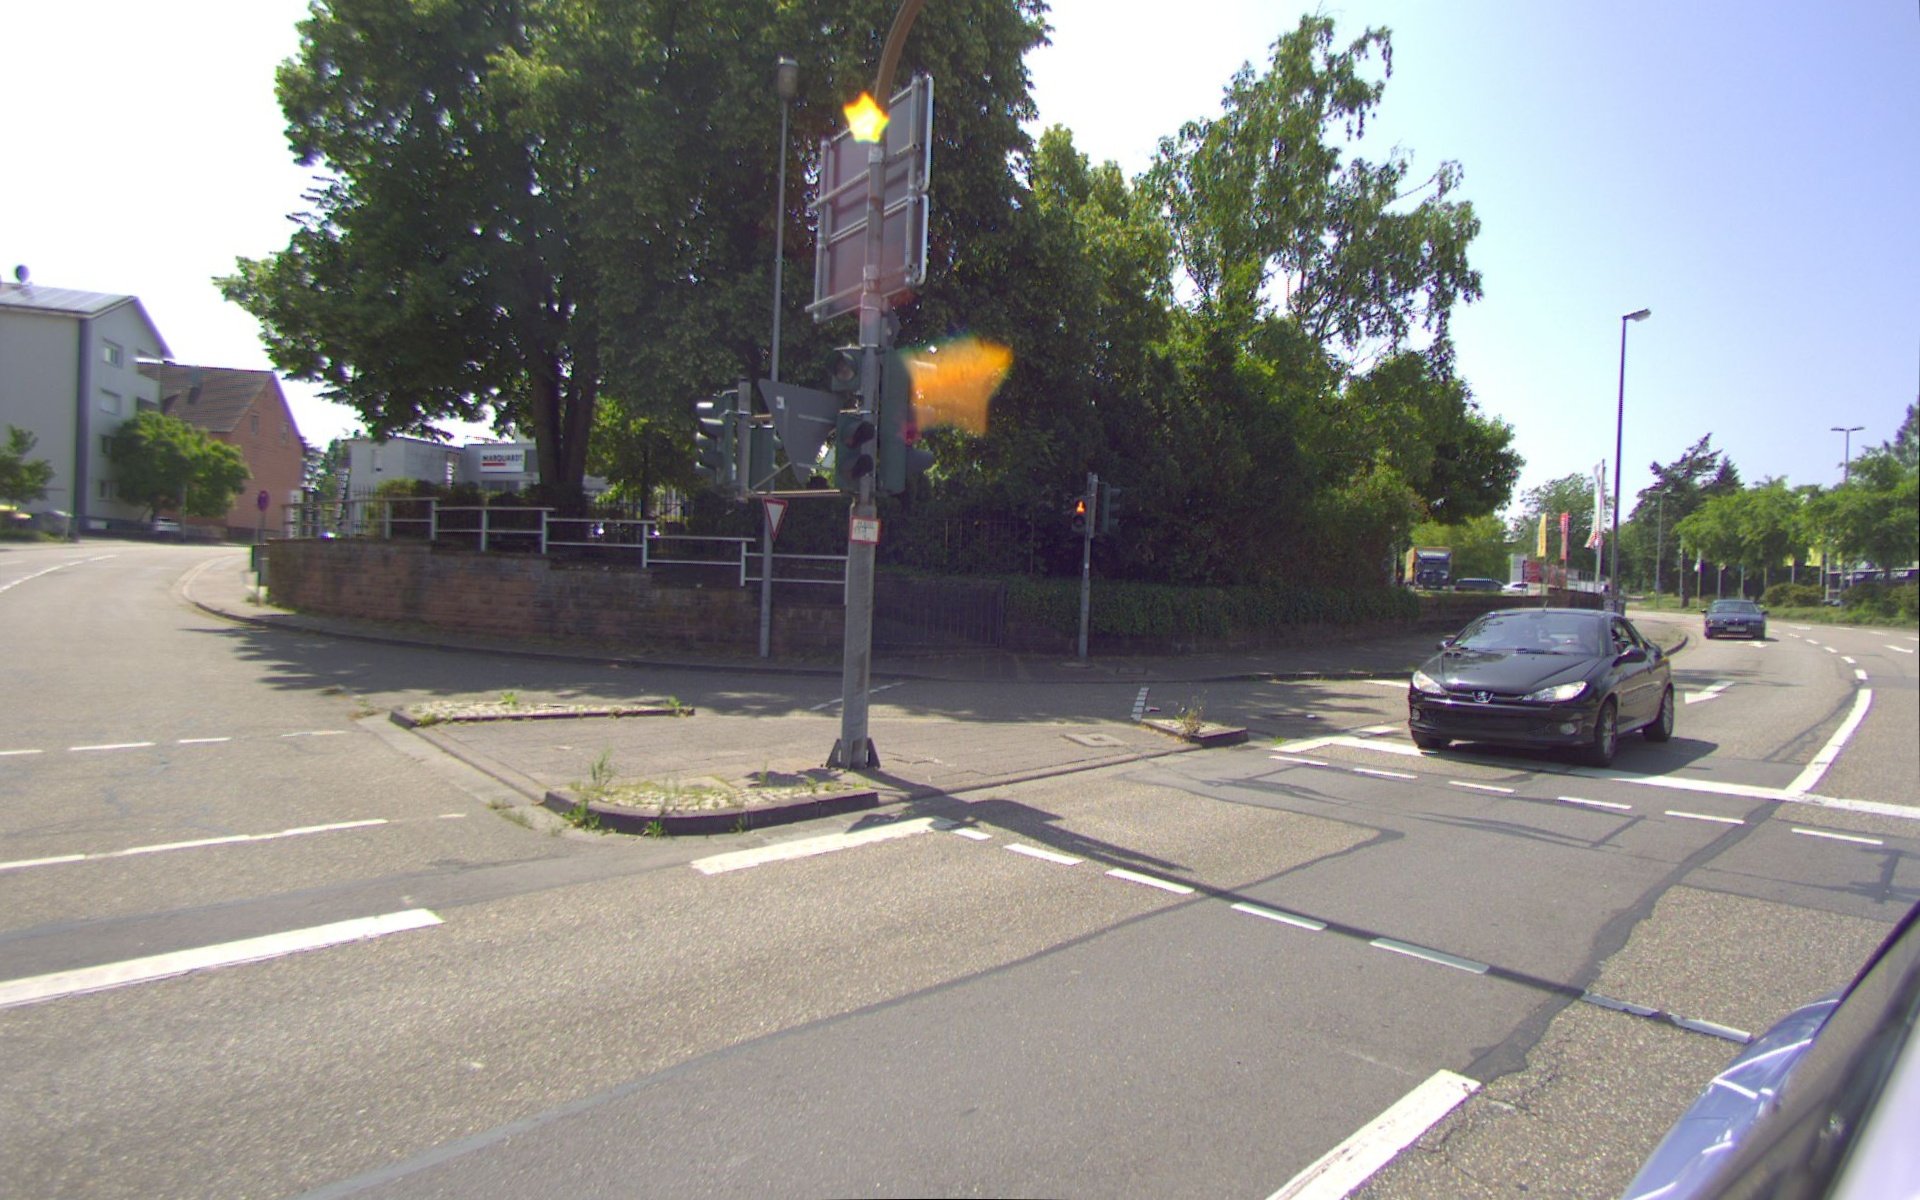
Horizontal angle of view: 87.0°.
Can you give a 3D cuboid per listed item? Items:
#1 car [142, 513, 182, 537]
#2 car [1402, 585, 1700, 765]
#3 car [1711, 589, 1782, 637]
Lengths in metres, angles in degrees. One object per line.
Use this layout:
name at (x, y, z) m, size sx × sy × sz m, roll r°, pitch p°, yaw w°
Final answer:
car at (-58.341, -5.466, 74.028) m, size 1.688 × 1.528 × 3.957 m, roll 0°, pitch 1°, yaw -29°
car at (5.954, 0.608, 10.035) m, size 3.600 × 1.443 × 1.601 m, roll 0°, pitch 1°, yaw -44°
car at (27.293, 0.403, 35.220) m, size 1.688 × 1.390 × 3.951 m, roll 3°, pitch 3°, yaw 35°
